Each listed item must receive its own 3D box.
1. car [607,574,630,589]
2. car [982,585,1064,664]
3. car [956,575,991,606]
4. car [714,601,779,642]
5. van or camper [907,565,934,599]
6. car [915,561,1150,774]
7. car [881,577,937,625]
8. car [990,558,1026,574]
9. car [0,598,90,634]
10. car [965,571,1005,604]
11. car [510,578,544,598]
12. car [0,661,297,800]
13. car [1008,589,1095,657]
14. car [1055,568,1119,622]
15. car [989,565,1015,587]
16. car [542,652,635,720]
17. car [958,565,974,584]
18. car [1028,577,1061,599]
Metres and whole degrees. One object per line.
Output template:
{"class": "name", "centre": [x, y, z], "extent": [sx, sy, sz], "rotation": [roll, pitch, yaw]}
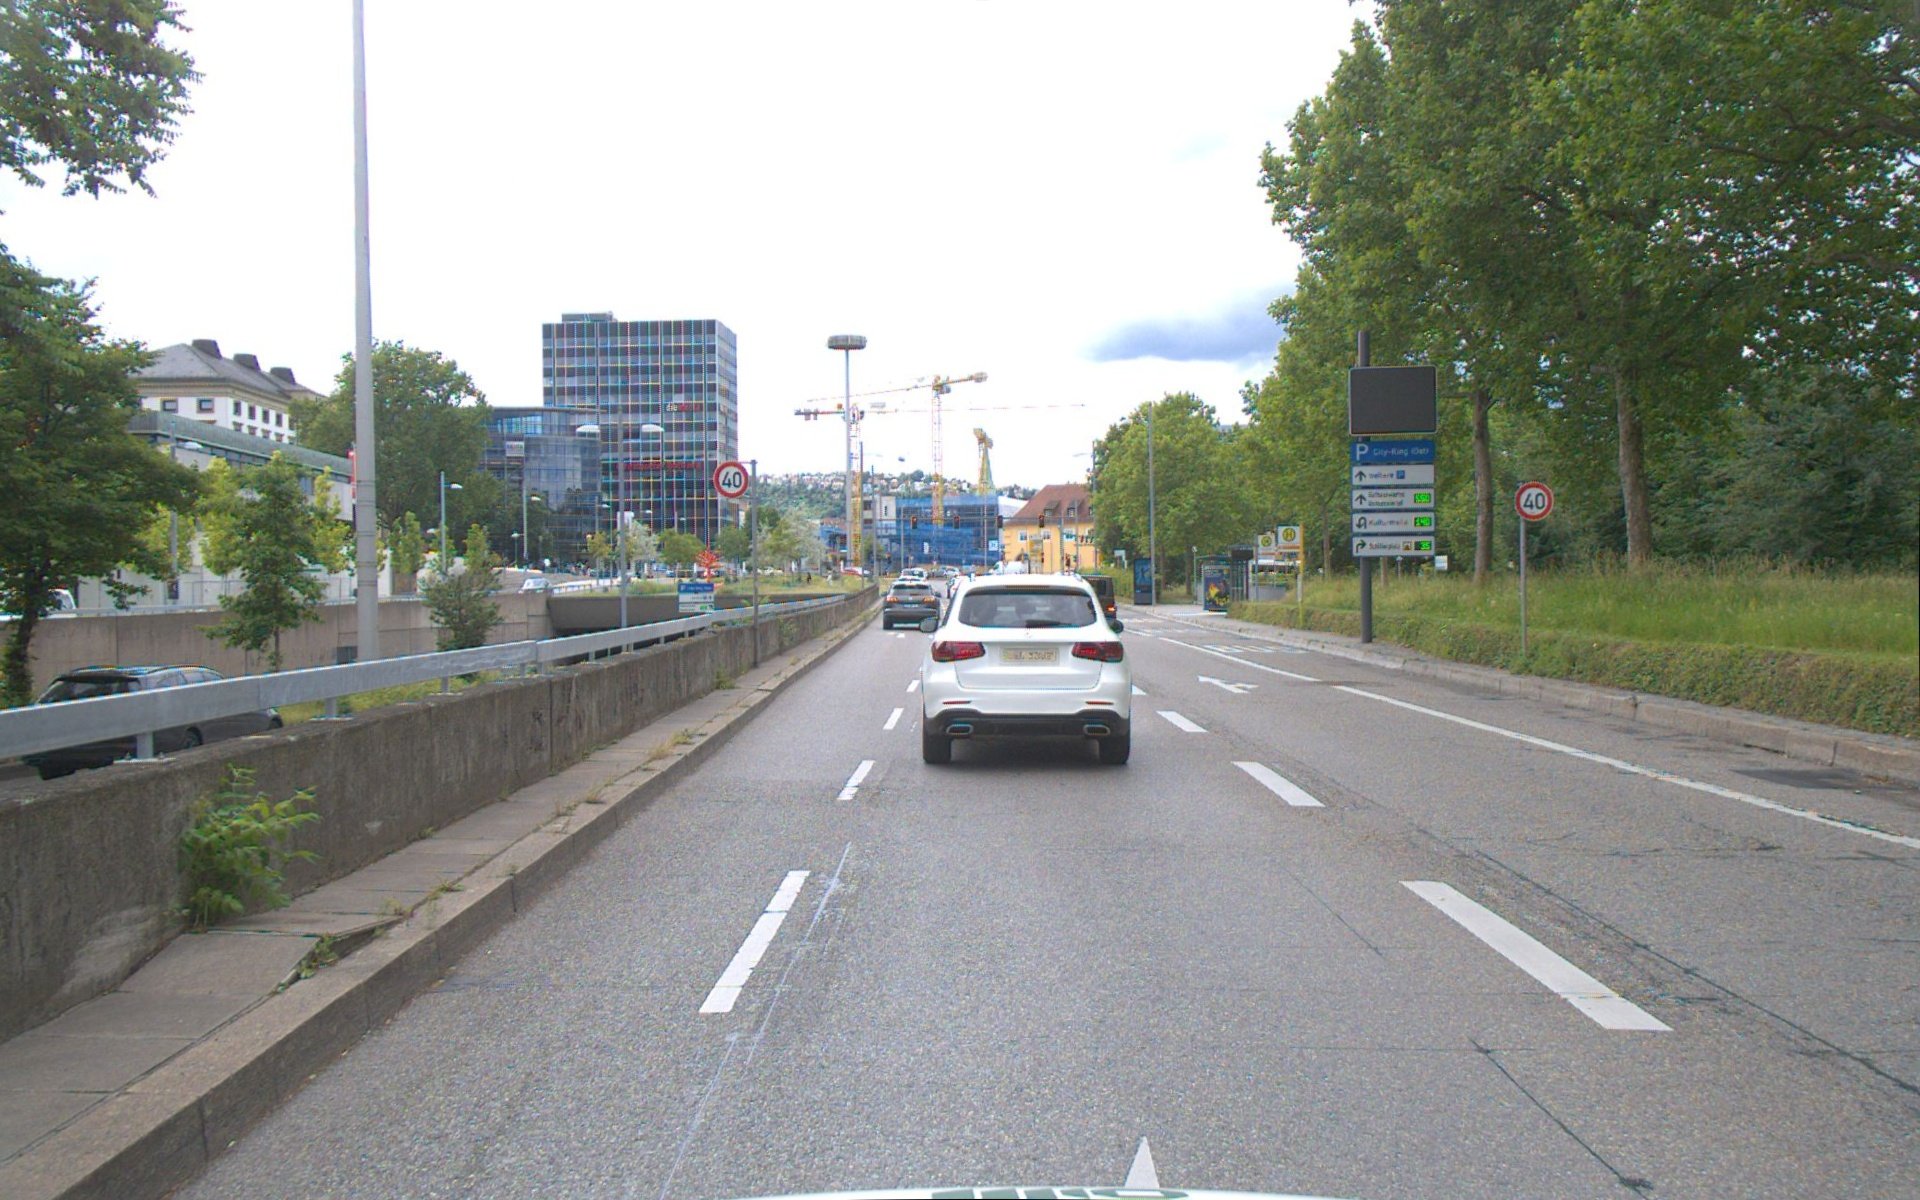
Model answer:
{"class": "car", "centre": [-35.929, -1.929, 174.156], "extent": [1.773, 1.452, 3.705], "rotation": [2, 0, -3]}
{"class": "car", "centre": [1.373, 0.521, 37.258], "extent": [1.638, 1.656, 3.999], "rotation": [2, 0, -1]}
{"class": "car", "centre": [0.808, -0.580, 101.348], "extent": [1.953, 1.812, 3.998], "rotation": [2, 0, -2]}
{"class": "car", "centre": [-7.524, 0.739, 58.557], "extent": [1.684, 1.315, 4.000], "rotation": [2, 0, 1]}
{"class": "van or camper", "centre": [-2.857, -1.277, 119.242], "extent": [1.883, 2.360, 3.998], "rotation": [0, -1, -2]}
{"class": "car", "centre": [0.556, 0.555, 15.429], "extent": [1.901, 1.713, 3.999], "rotation": [0, 0, -1]}
{"class": "car", "centre": [-1.805, 0.020, 58.680], "extent": [1.883, 1.630, 3.999], "rotation": [0, 1, -2]}
{"class": "car", "centre": [6.835, -4.826, 235.476], "extent": [5.191, 2.096, 1.864], "rotation": [1, -1, 40]}
{"class": "car", "centre": [-31.300, 0.521, 55.507], "extent": [1.773, 1.138, 4.805], "rotation": [2, 0, -3]}
{"class": "car", "centre": [1.356, -0.653, 89.961], "extent": [1.953, 1.691, 3.998], "rotation": [2, 0, -2]}
{"class": "car", "centre": [-31.050, -0.838, 118.603], "extent": [1.797, 1.384, 3.863], "rotation": [2, 0, -7]}
{"class": "car", "centre": [-10.753, 1.648, 22.170], "extent": [1.775, 1.486, 4.862], "rotation": [1, 0, 0]}
{"class": "car", "centre": [2.280, 0.550, 42.159], "extent": [1.883, 1.630, 3.999], "rotation": [0, 1, -2]}
{"class": "car", "centre": [4.770, -0.173, 62.574], "extent": [1.937, 1.926, 4.706], "rotation": [2, 0, -1]}
{"class": "car", "centre": [3.194, -1.837, 127.020], "extent": [1.685, 1.612, 3.998], "rotation": [2, 0, -3]}
{"class": "car", "centre": [-9.230, 2.116, 41.324], "extent": [1.594, 1.535, 3.539], "rotation": [1, 0, -1]}
{"class": "car", "centre": [0.682, -2.963, 192.187], "extent": [1.764, 2.049, 3.998], "rotation": [2, 0, -2]}
{"class": "car", "centre": [6.475, -0.899, 126.944], "extent": [1.955, 1.646, 3.995], "rotation": [2, 0, -6]}
